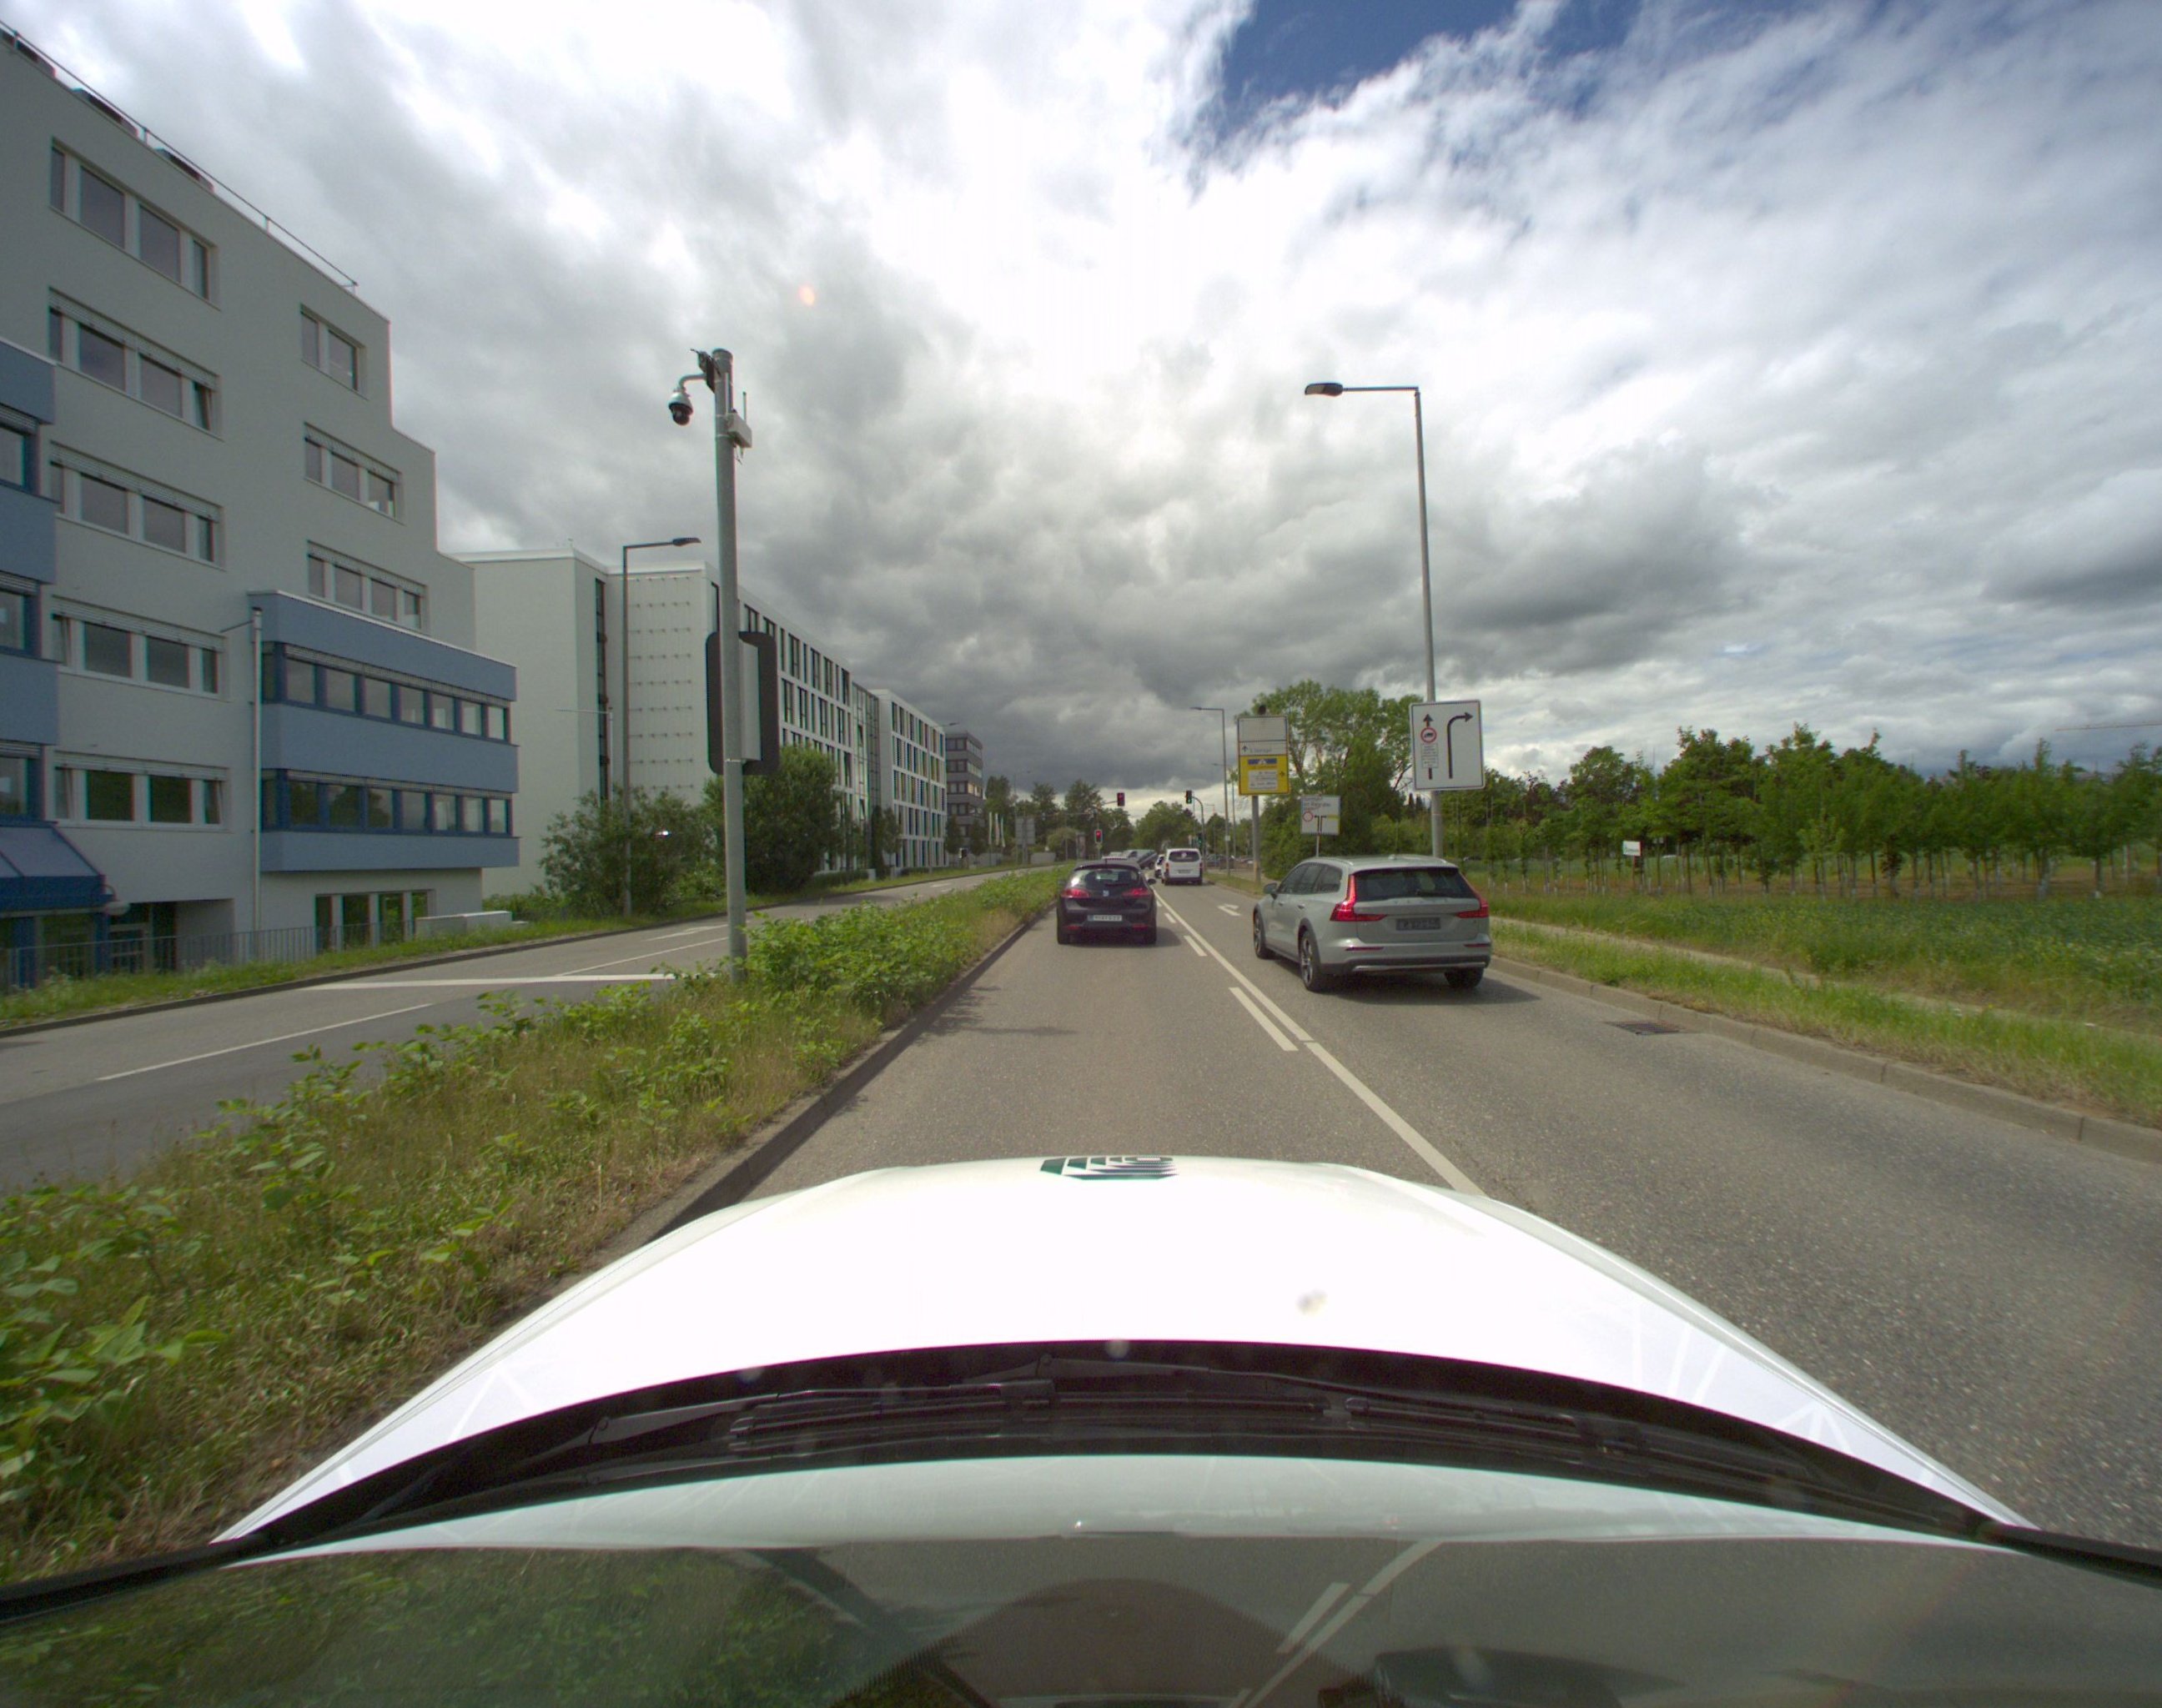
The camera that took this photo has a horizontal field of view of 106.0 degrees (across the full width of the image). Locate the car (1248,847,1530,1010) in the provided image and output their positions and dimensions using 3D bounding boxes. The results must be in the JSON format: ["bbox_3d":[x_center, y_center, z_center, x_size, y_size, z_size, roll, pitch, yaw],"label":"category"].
[{"bbox_3d":[3.426,0.715,10.087,1.856,1.518,4.447,-2,0,1],"label":"car"}]

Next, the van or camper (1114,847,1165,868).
[{"bbox_3d":[5.836,0.329,81.512,4.831,2.013,1.980,-1,0,-31],"label":"van or camper"}]

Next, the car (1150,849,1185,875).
[{"bbox_3d":[5.689,0.527,54.054,1.986,1.632,4.002,-1,0,2],"label":"car"}]

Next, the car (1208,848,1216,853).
[{"bbox_3d":[37.132,-0.936,231.342,1.980,1.352,4.014,-1,0,12],"label":"car"}]

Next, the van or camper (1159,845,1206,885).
[{"bbox_3d":[5.183,0.535,41.996,1.985,1.860,4.947,-1,0,3],"label":"van or camper"}]

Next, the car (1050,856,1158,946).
[{"bbox_3d":[0.509,0.776,15.130,1.765,1.452,3.586,0,0,4],"label":"car"}]

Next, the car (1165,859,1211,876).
[{"bbox_3d":[8.932,1.102,68.037,3.381,1.345,1.683,-1,0,-11],"label":"car"}]

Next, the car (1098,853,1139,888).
[{"bbox_3d":[1.696,0.707,37.568,1.766,1.491,3.584,-2,0,2],"label":"car"}]
